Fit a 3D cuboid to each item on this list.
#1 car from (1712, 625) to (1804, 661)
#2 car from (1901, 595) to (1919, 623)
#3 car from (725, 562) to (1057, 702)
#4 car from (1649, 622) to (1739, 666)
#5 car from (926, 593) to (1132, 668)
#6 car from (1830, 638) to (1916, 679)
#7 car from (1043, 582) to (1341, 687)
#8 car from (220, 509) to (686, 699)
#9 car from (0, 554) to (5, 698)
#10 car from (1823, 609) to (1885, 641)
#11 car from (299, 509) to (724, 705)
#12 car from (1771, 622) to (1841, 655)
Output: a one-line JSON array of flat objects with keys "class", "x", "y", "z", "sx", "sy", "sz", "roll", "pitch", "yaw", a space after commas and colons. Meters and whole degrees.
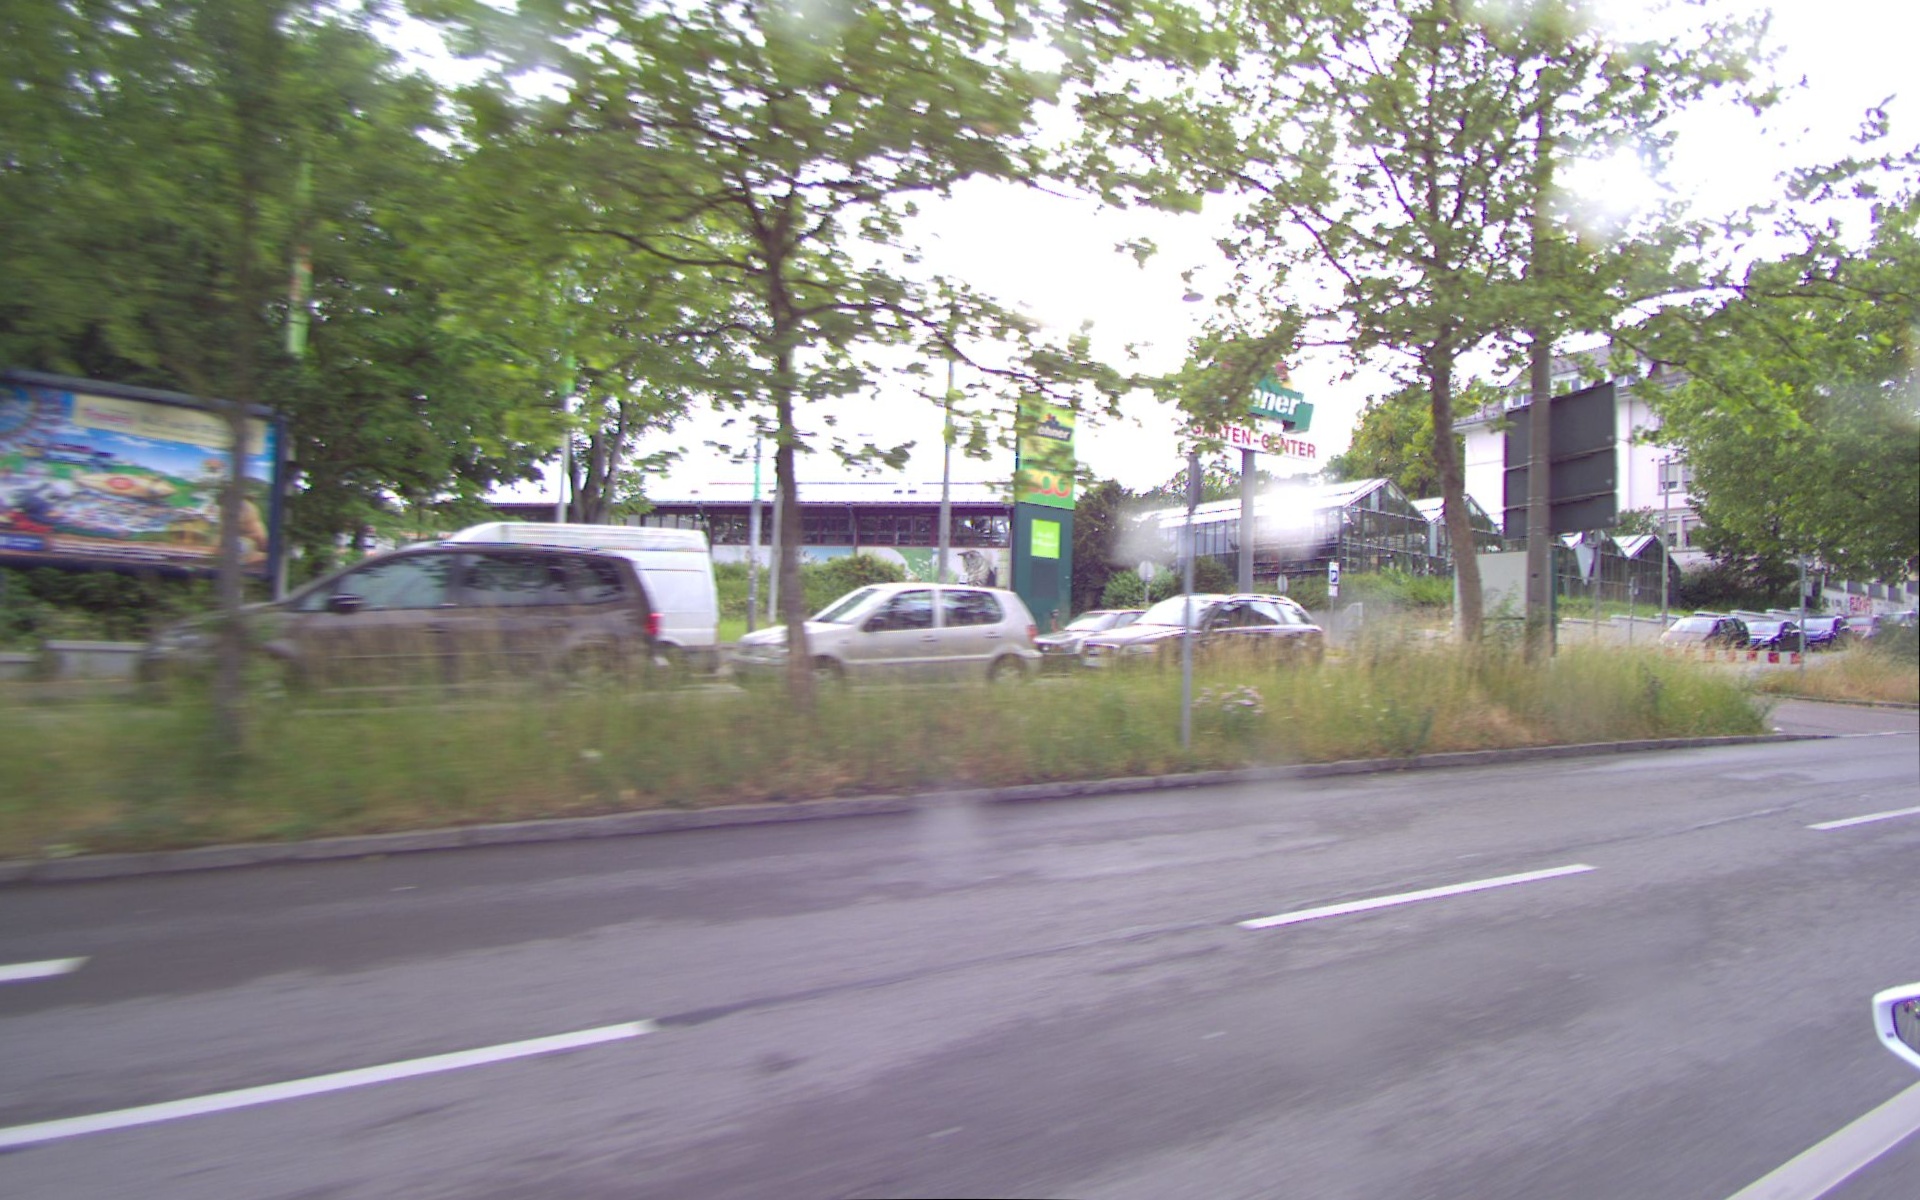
[{"class": "car", "x": 32.849, "y": 1.761, "z": 41.322, "sx": 4.079, "sy": 1.307, "sz": 1.805, "roll": 4, "pitch": -3, "yaw": -33}, {"class": "car", "x": 51.987, "y": 0.498, "z": 54.028, "sx": 2.985, "sy": 1.315, "sz": 1.374, "roll": 4, "pitch": -3, "yaw": -34}, {"class": "car", "x": -0.744, "y": 0.441, "z": 11.829, "sx": 3.667, "sy": 1.413, "sz": 1.353, "roll": 4, "pitch": -3, "yaw": -32}, {"class": "car", "x": 27.538, "y": 1.663, "z": 37.685, "sx": 3.481, "sy": 1.506, "sz": 1.639, "roll": 4, "pitch": -3, "yaw": -33}, {"class": "car", "x": 1.490, "y": 0.681, "z": 20.828, "sx": 4.232, "sy": 1.335, "sz": 1.394, "roll": 4, "pitch": -3, "yaw": -32}, {"class": "car", "x": 28.298, "y": 1.820, "z": 31.125, "sx": 2.724, "sy": 1.145, "sz": 1.342, "roll": 4, "pitch": -3, "yaw": -33}, {"class": "car", "x": 3.519, "y": 0.575, "z": 14.929, "sx": 4.492, "sy": 1.309, "sz": 1.530, "roll": 4, "pitch": -3, "yaw": -30}, {"class": "car", "x": -4.657, "y": 0.140, "z": 9.548, "sx": 3.605, "sy": 1.471, "sz": 1.645, "roll": 4, "pitch": -3, "yaw": -32}, {"class": "car", "x": -9.525, "y": 0.165, "z": 6.759, "sx": 4.169, "sy": 1.221, "sz": 1.690, "roll": 1, "pitch": -2, "yaw": -30}, {"class": "car", "x": 42.450, "y": 1.198, "z": 47.682, "sx": 3.051, "sy": 1.326, "sz": 1.353, "roll": 4, "pitch": -3, "yaw": -31}, {"class": "car", "x": -6.568, "y": 0.130, "z": 15.085, "sx": 5.597, "sy": 2.475, "sz": 1.951, "roll": 0, "pitch": -2, "yaw": -35}, {"class": "car", "x": 36.854, "y": 1.678, "z": 43.741, "sx": 3.271, "sy": 1.307, "sz": 1.455, "roll": 4, "pitch": -3, "yaw": -33}]
